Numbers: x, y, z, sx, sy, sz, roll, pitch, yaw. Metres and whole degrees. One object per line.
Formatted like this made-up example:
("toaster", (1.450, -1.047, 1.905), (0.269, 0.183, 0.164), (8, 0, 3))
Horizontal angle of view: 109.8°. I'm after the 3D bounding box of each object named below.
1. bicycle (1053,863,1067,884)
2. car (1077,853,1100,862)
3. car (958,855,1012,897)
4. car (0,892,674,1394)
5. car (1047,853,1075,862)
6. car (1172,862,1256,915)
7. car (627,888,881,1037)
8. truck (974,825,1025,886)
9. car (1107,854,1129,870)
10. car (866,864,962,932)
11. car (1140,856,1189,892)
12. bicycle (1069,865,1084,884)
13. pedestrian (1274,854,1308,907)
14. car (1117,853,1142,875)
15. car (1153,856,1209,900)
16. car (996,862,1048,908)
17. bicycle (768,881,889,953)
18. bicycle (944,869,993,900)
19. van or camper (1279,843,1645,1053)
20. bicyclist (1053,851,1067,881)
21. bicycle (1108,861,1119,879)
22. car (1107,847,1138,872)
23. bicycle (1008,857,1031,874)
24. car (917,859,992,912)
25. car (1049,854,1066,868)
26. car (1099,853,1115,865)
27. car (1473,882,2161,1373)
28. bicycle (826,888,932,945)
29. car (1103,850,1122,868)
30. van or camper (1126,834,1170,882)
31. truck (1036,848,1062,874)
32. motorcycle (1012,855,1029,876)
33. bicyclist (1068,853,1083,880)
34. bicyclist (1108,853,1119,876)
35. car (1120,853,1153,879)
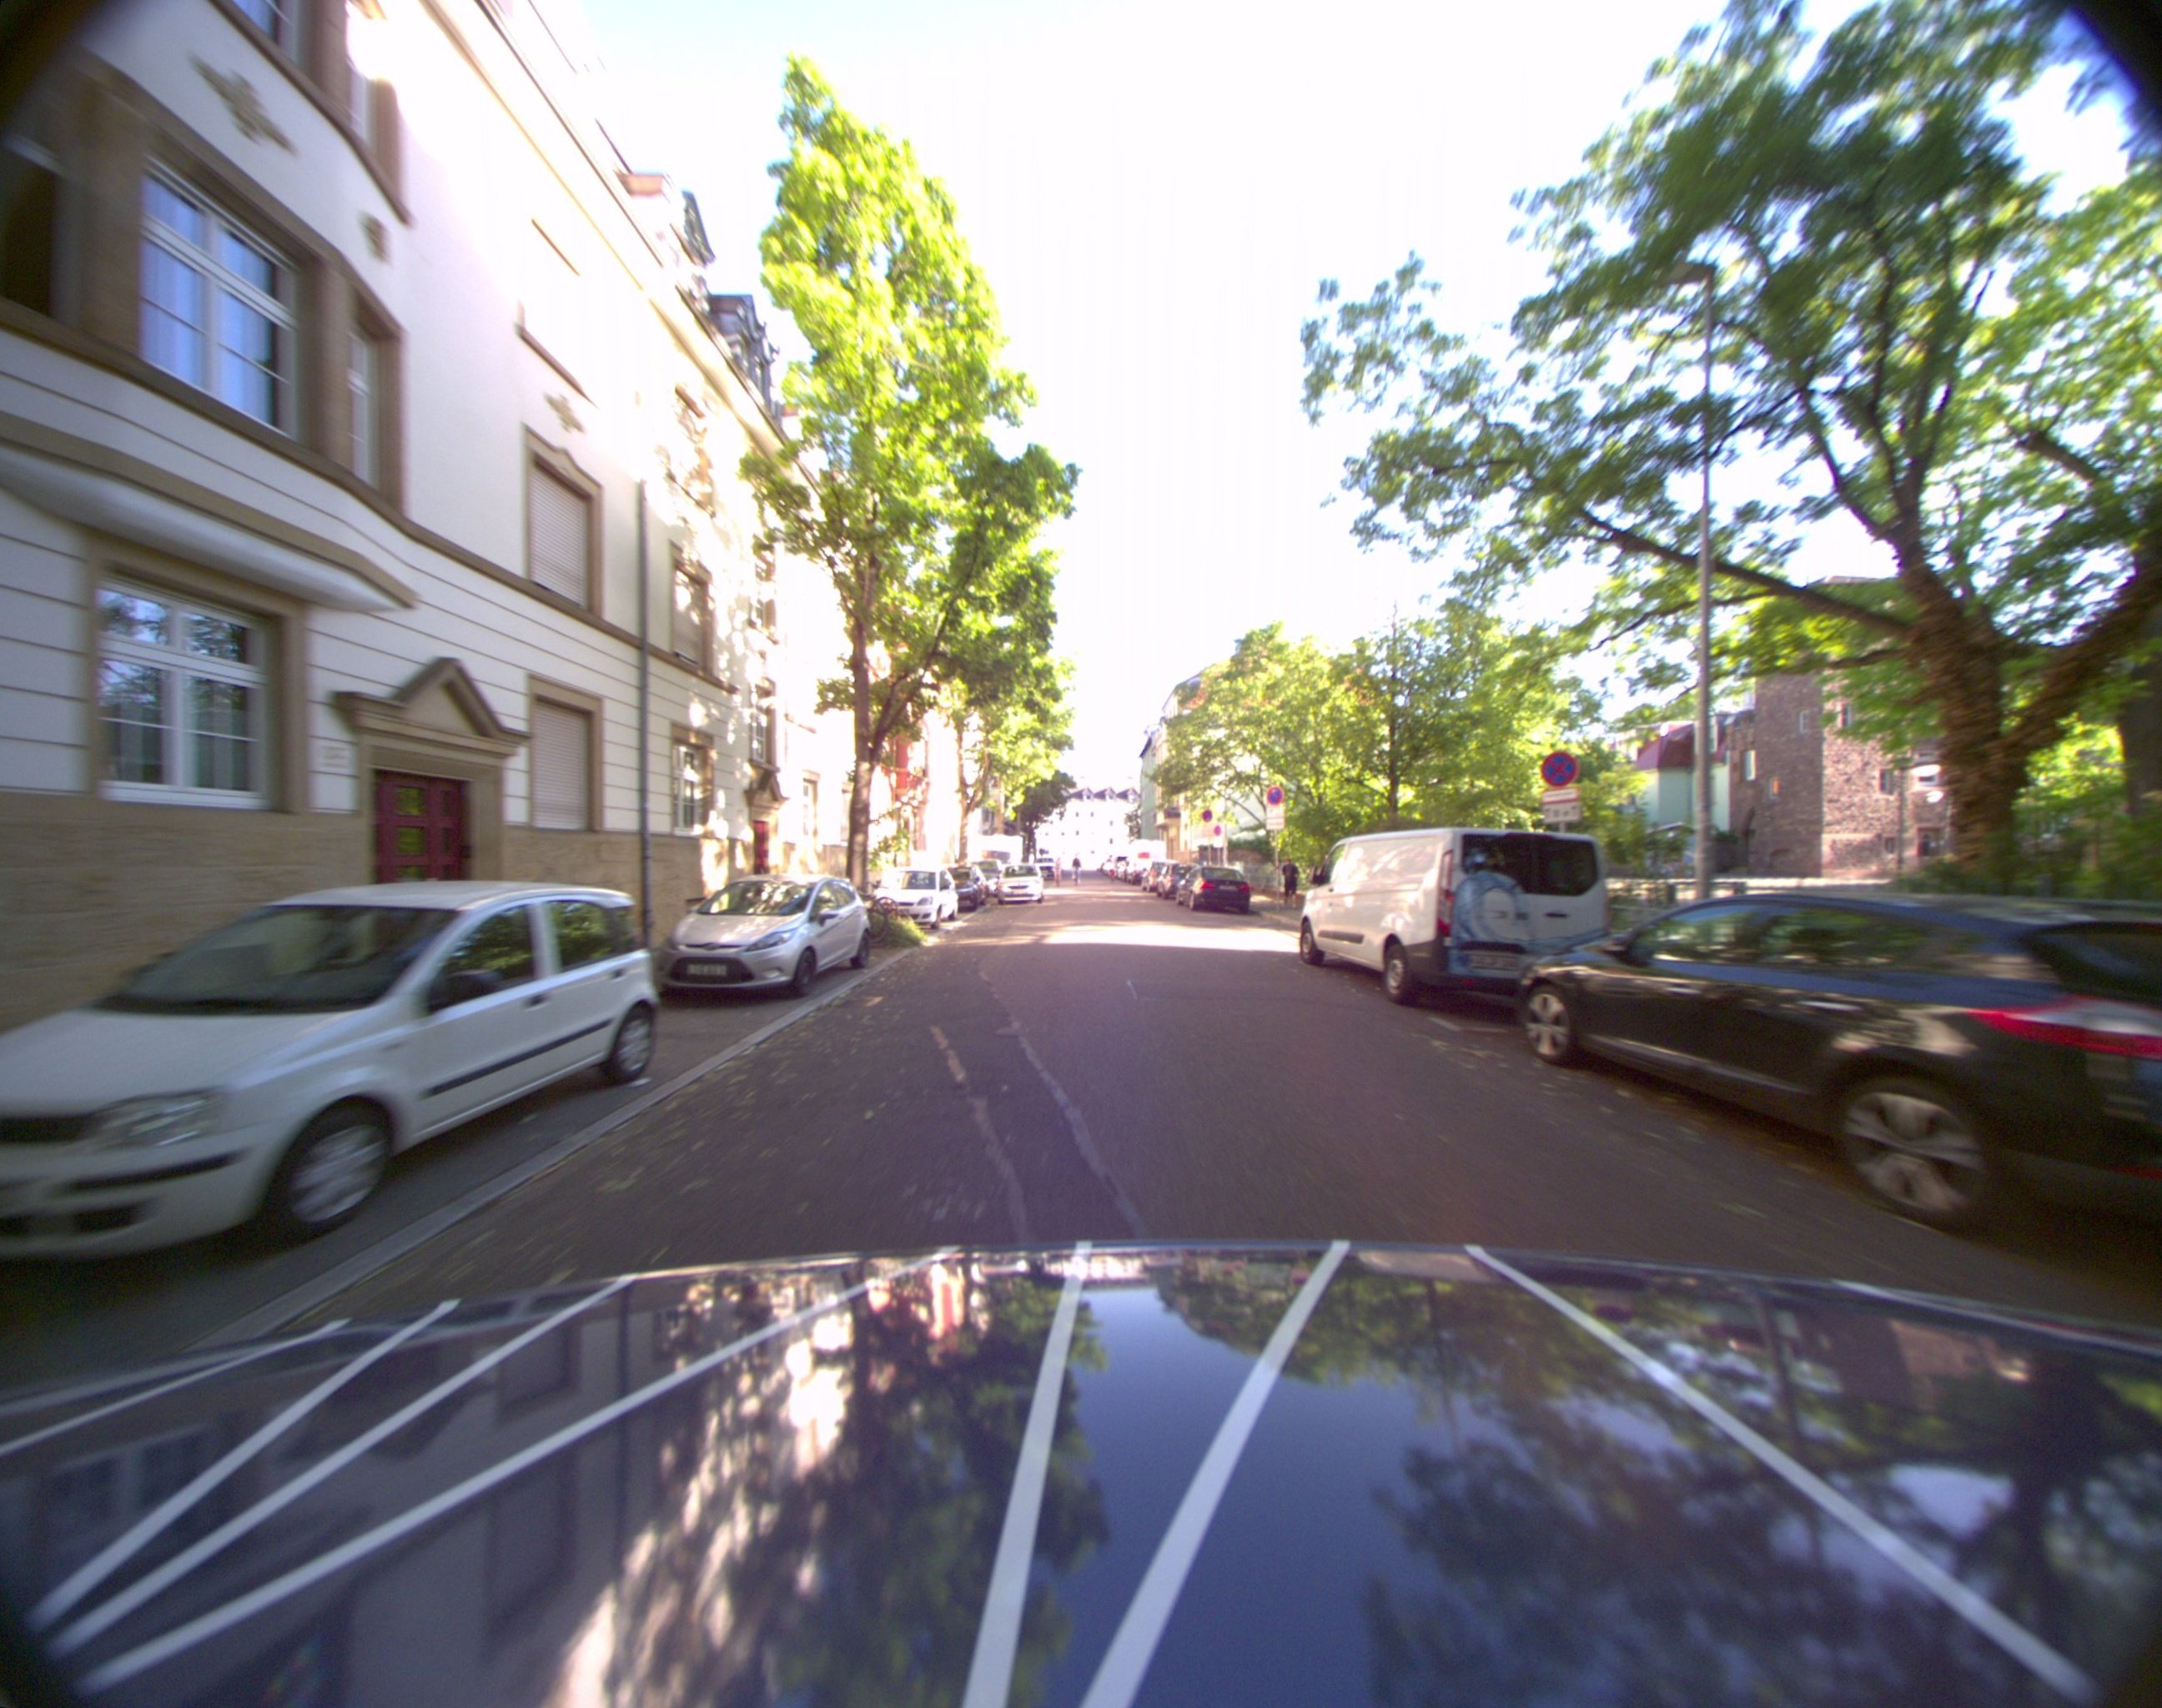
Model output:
("bicycle", (-1.181, 1.104, 43.486), (0.707, 1.039, 1.857), (-4, 1, -2))
("car", (1.264, 0.550, 125.939), (3.614, 1.440, 1.553), (-1, 1, -9))
("car", (-4.187, 0.906, 33.778), (1.890, 1.706, 4.943), (0, 0, -2))
("car", (-4.045, 1.066, 4.324), (1.524, 1.502, 3.543), (0, 0, 0))
("car", (-3.272, 0.592, 125.293), (4.493, 1.498, 1.944), (-1, 0, -7))
("car", (4.176, 1.027, 24.631), (1.718, 1.387, 4.778), (3, 0, -2))
("car", (-4.065, 1.262, 10.261), (1.626, 1.386, 4.157), (0, 0, 0))
("truck", (-4.224, 0.073, 40.178), (2.079, 2.951, 6.108), (2, 0, -1))
("car", (3.604, 0.777, 75.259), (1.838, 1.454, 4.362), (2, 0, -2))
("car", (-4.099, 1.030, 19.156), (1.601, 1.479, 3.747), (0, 0, 0))
("car", (3.993, 0.918, 37.132), (1.785, 1.581, 4.468), (2, 0, -1))
("bicycle", (-0.290, 1.196, 44.909), (0.741, 1.054, 1.857), (-2, 1, -4))
("pedestrian", (6.433, 0.802, 23.316), (0.883, 1.568, 0.529), (-1, 1, 0))
("car", (3.719, 0.739, 58.812), (1.639, 1.543, 4.087), (0, 1, -1))
("car", (4.000, 0.917, 30.927), (1.680, 1.563, 4.151), (2, 0, 0))
("car", (-2.160, 1.111, 28.716), (1.683, 1.535, 3.799), (-2, 0, -1))
("bicycle", (-4.645, 1.155, 14.057), (1.974, 1.222, 0.760), (1, 1, 0))
("bicycle", (-4.431, 1.189, 29.919), (1.815, 1.160, 0.569), (2, 1, -1))
("van or camper", (4.410, 0.899, 10.101), (1.927, 1.968, 5.460), (3, 0, -1))
("bicyclist", (-1.193, 0.671, 43.473), (0.716, 1.679, 0.981), (-3, 1, -1))
("bicycle", (2.069, 1.005, 48.714), (0.666, 1.071, 1.685), (-1, 1, 2))
("car", (3.779, 0.458, 69.614), (2.258, 2.156, 5.242), (2, 0, -3))
("bicycle", (-4.885, 0.911, 60.086), (1.763, 1.297, 0.586), (-1, 1, -2))
("car", (-4.111, 0.977, 25.377), (1.791, 1.505, 4.459), (-1, 0, -1))
("car", (-2.736, 0.771, 89.261), (1.807, 1.526, 3.964), (-2, 0, 1))
("car", (3.423, 0.682, 99.235), (1.771, 1.444, 4.206), (2, 0, -1))
("car", (4.592, 1.013, 4.587), (2.006, 1.449, 4.605), (2, 0, 0))
("bicycle", (-4.115, 1.261, 15.544), (1.974, 1.067, 0.599), (1, 1, 0))
("car", (3.523, 0.558, 85.923), (1.776, 1.832, 4.414), (2, 1, -2))
("van or camper", (4.132, 0.230, 47.971), (2.134, 2.753, 5.850), (2, 0, -1))
("truck", (-2.523, 0.500, 60.363), (1.833, 1.937, 5.540), (-1, 0, 0))
("motorcycle", (-4.331, 0.799, 54.508), (0.932, 1.477, 2.138), (-1, 0, 1))
("bicyclist", (-0.308, 0.738, 44.866), (0.757, 1.556, 0.981), (-2, 1, -4))
("bicyclist", (2.057, 0.672, 48.621), (0.653, 1.500, 0.624), (-1, 1, 1))
("car", (3.857, 0.795, 53.743), (1.880, 1.675, 4.968), (1, 0, -1))
